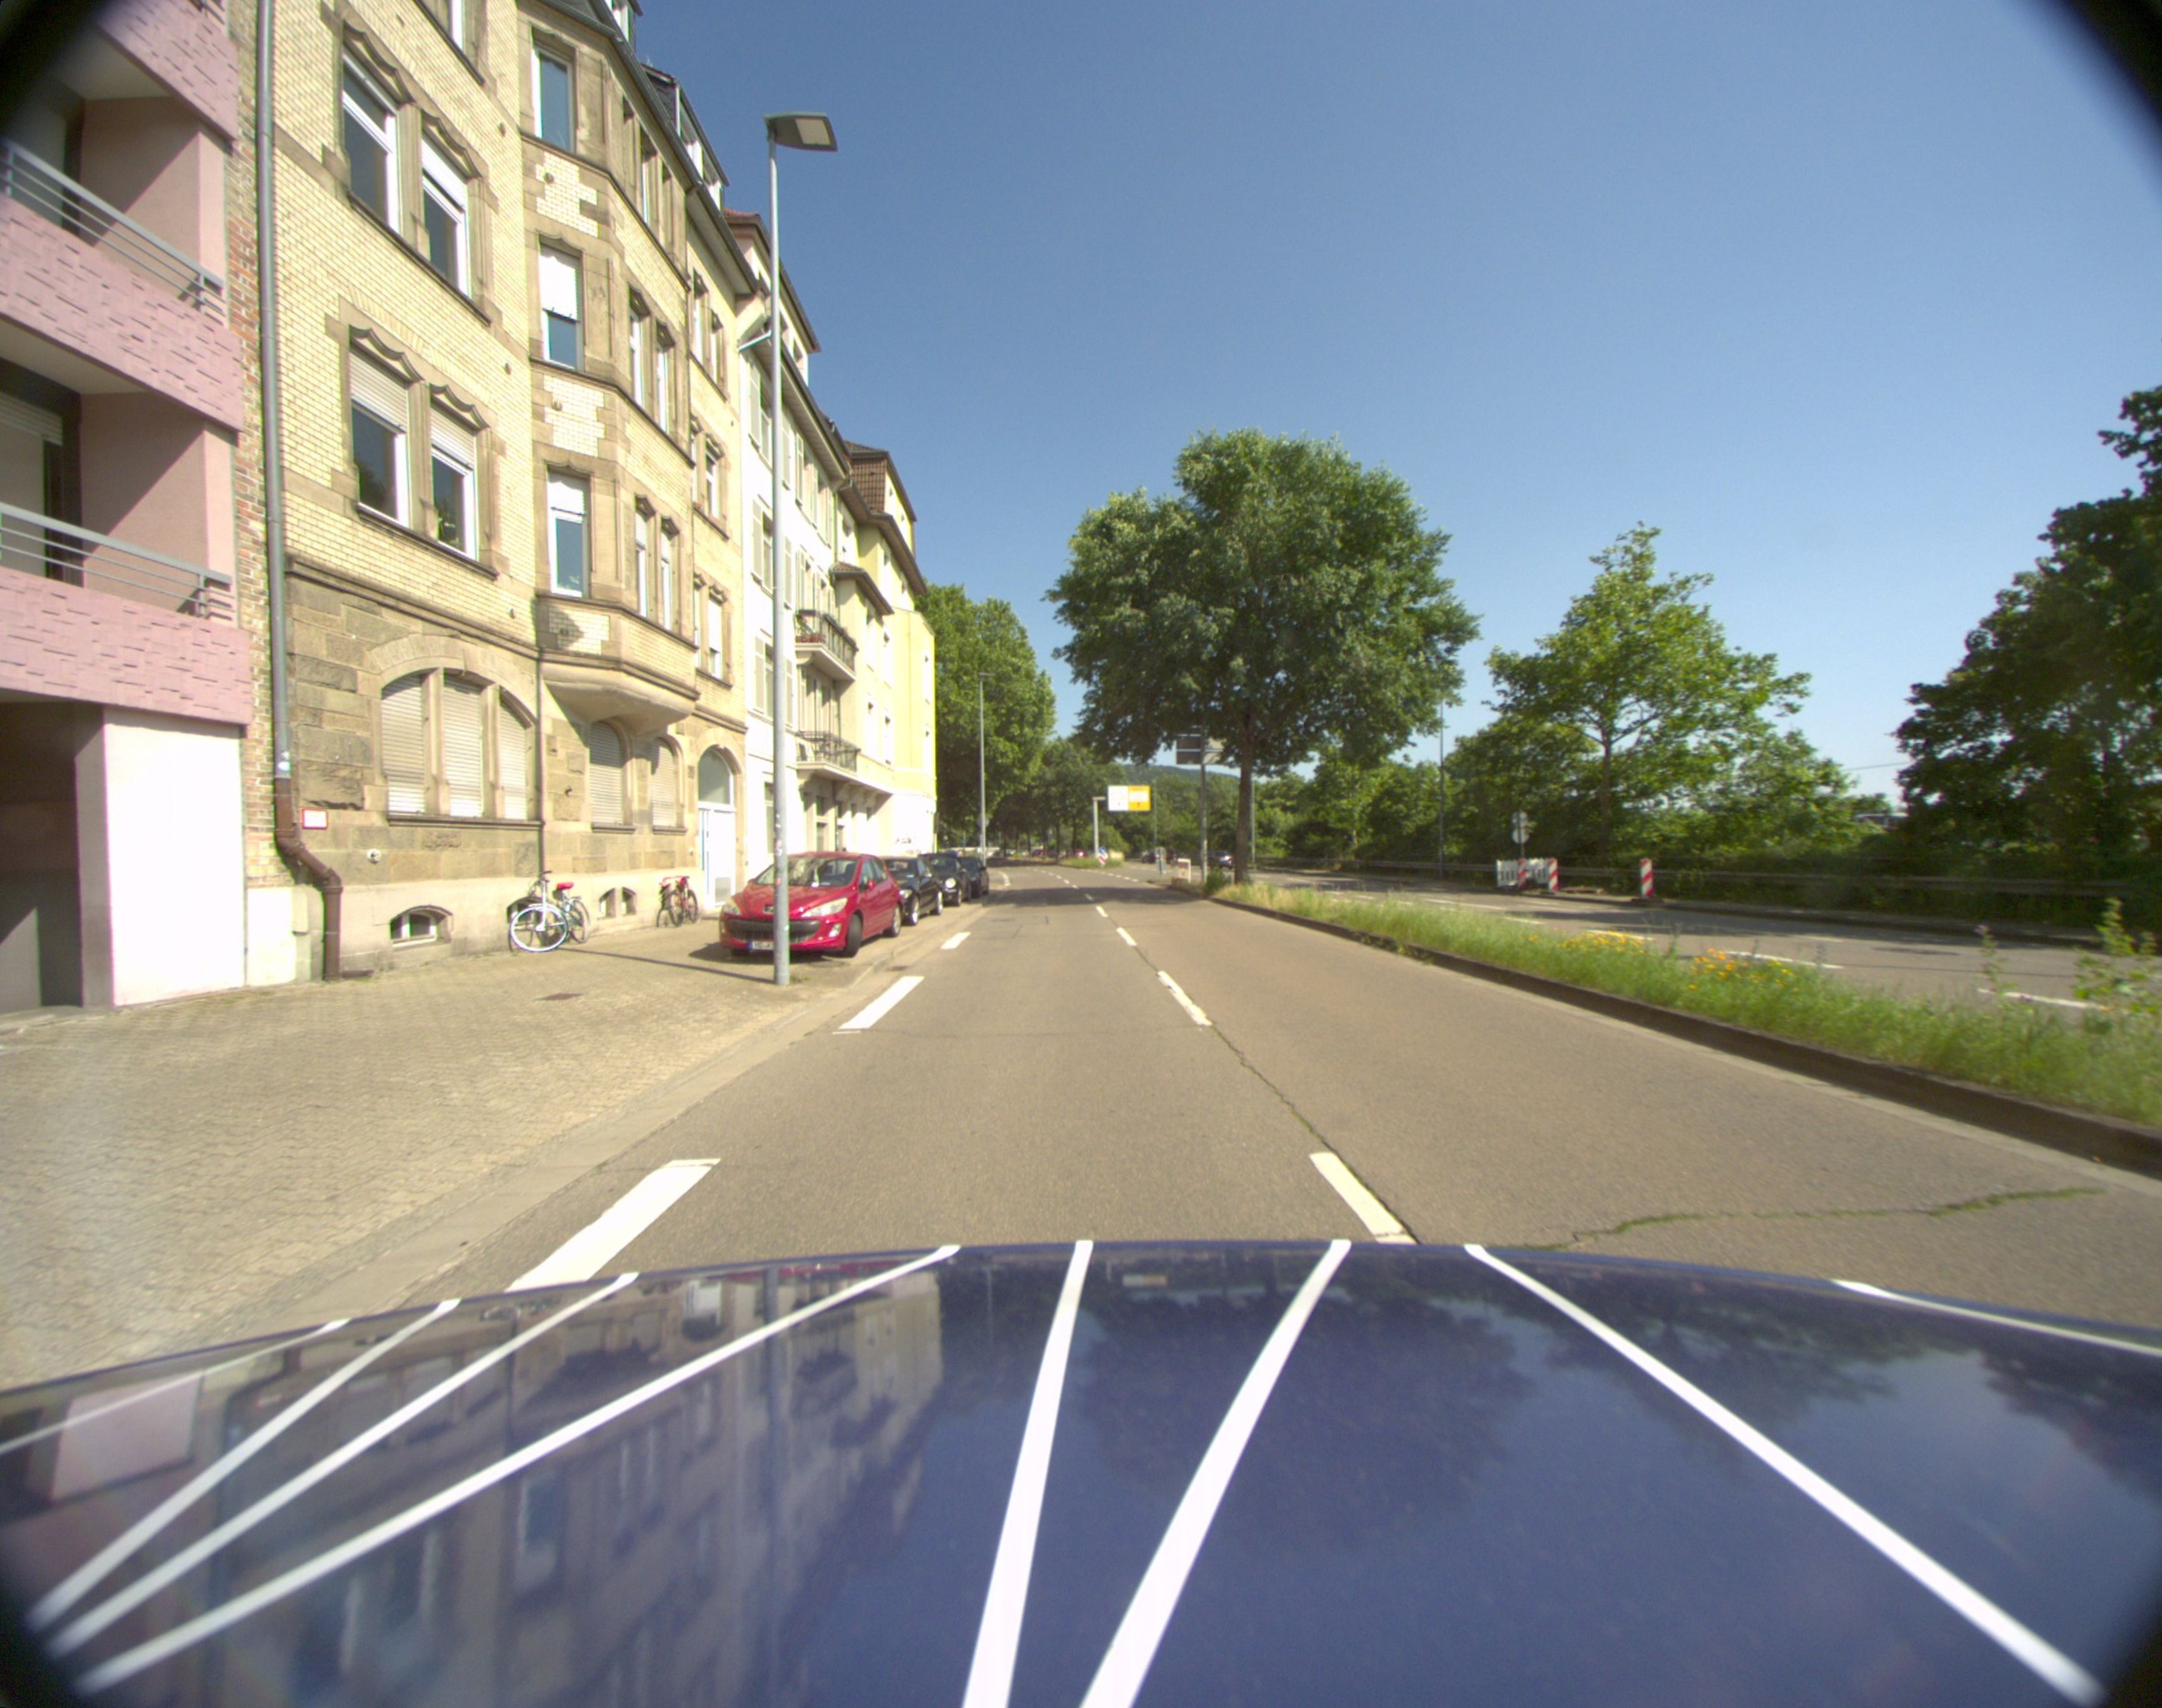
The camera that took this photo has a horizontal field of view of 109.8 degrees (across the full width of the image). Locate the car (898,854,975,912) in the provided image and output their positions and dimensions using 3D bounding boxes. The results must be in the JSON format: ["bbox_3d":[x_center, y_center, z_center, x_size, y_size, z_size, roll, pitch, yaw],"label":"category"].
[{"bbox_3d":[-4.148,0.783,22.409,1.646,1.492,4.009,1,1,-2],"label":"car"}]

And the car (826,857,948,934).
[{"bbox_3d":[-4.130,0.820,16.837,1.646,1.444,4.126,0,0,0],"label":"car"}]

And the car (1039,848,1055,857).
[{"bbox_3d":[-6.349,-0.222,141.190,1.925,1.654,4.305,-1,1,-17],"label":"car"}]

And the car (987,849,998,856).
[{"bbox_3d":[-18.385,-0.336,157.627,1.636,1.487,3.674,0,1,-19],"label":"car"}]

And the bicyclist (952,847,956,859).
[{"bbox_3d":[-17.219,-0.072,103.140,0.541,1.624,0.589,0,1,-7],"label":"bicyclist"}]

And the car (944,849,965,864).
[{"bbox_3d":[-13.028,0.248,78.129,1.794,1.504,3.888,-1,1,-14],"label":"car"}]

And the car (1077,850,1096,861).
[{"bbox_3d":[0.768,0.254,107.382,1.803,1.511,3.960,0,0,-11],"label":"car"}]

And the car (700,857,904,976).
[{"bbox_3d":[-4.055,0.816,11.778,1.790,1.473,3.999,1,1,-2],"label":"car"}]

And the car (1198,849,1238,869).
[{"bbox_3d":[11.117,0.367,61.922,1.999,1.519,4.695,1,0,-5],"label":"car"}]

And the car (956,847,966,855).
[{"bbox_3d":[-27.090,-0.644,171.898,1.636,1.801,3.585,0,1,-19],"label":"car"}]

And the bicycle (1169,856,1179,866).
[{"bbox_3d":[7.648,0.546,62.298,0.495,0.828,1.805,0,0,-3],"label":"bicycle"}]

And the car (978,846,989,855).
[{"bbox_3d":[-21.079,-0.709,164.116,1.636,1.904,3.674,-1,1,-19],"label":"car"}]

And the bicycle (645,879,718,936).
[{"bbox_3d":[-7.680,1.000,14.686,0.509,0.964,1.652,0,1,1],"label":"bicycle"}]

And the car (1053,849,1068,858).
[{"bbox_3d":[-3.502,-0.061,130.608,1.682,1.461,3.571,0,1,-16],"label":"car"}]

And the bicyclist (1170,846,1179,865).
[{"bbox_3d":[7.651,0.146,62.319,0.575,1.525,0.778,0,1,-2],"label":"bicyclist"}]

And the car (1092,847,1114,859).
[{"bbox_3d":[2.841,-0.180,98.062,1.871,1.444,4.199,1,1,-12],"label":"car"}]

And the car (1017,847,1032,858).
[{"bbox_3d":[-10.201,-0.330,137.523,2.001,1.880,3.994,-1,1,-16],"label":"car"}]

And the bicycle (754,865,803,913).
[{"bbox_3d":[-7.764,0.885,19.566,0.657,1.139,1.626,1,0,-4],"label":"bicycle"}]

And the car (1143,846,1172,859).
[{"bbox_3d":[8.477,-0.158,84.077,2.000,1.403,4.611,1,0,-10],"label":"car"}]

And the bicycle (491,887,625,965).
[{"bbox_3d":[-7.602,1.008,11.163,0.652,0.964,1.864,0,1,1],"label":"bicycle"}]

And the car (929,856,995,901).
[{"bbox_3d":[-4.138,0.801,26.952,1.745,1.408,4.080,1,1,-1],"label":"car"}]

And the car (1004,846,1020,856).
[{"bbox_3d":[-13.132,-0.512,144.683,2.002,1.880,3.993,-1,1,-19],"label":"car"}]
